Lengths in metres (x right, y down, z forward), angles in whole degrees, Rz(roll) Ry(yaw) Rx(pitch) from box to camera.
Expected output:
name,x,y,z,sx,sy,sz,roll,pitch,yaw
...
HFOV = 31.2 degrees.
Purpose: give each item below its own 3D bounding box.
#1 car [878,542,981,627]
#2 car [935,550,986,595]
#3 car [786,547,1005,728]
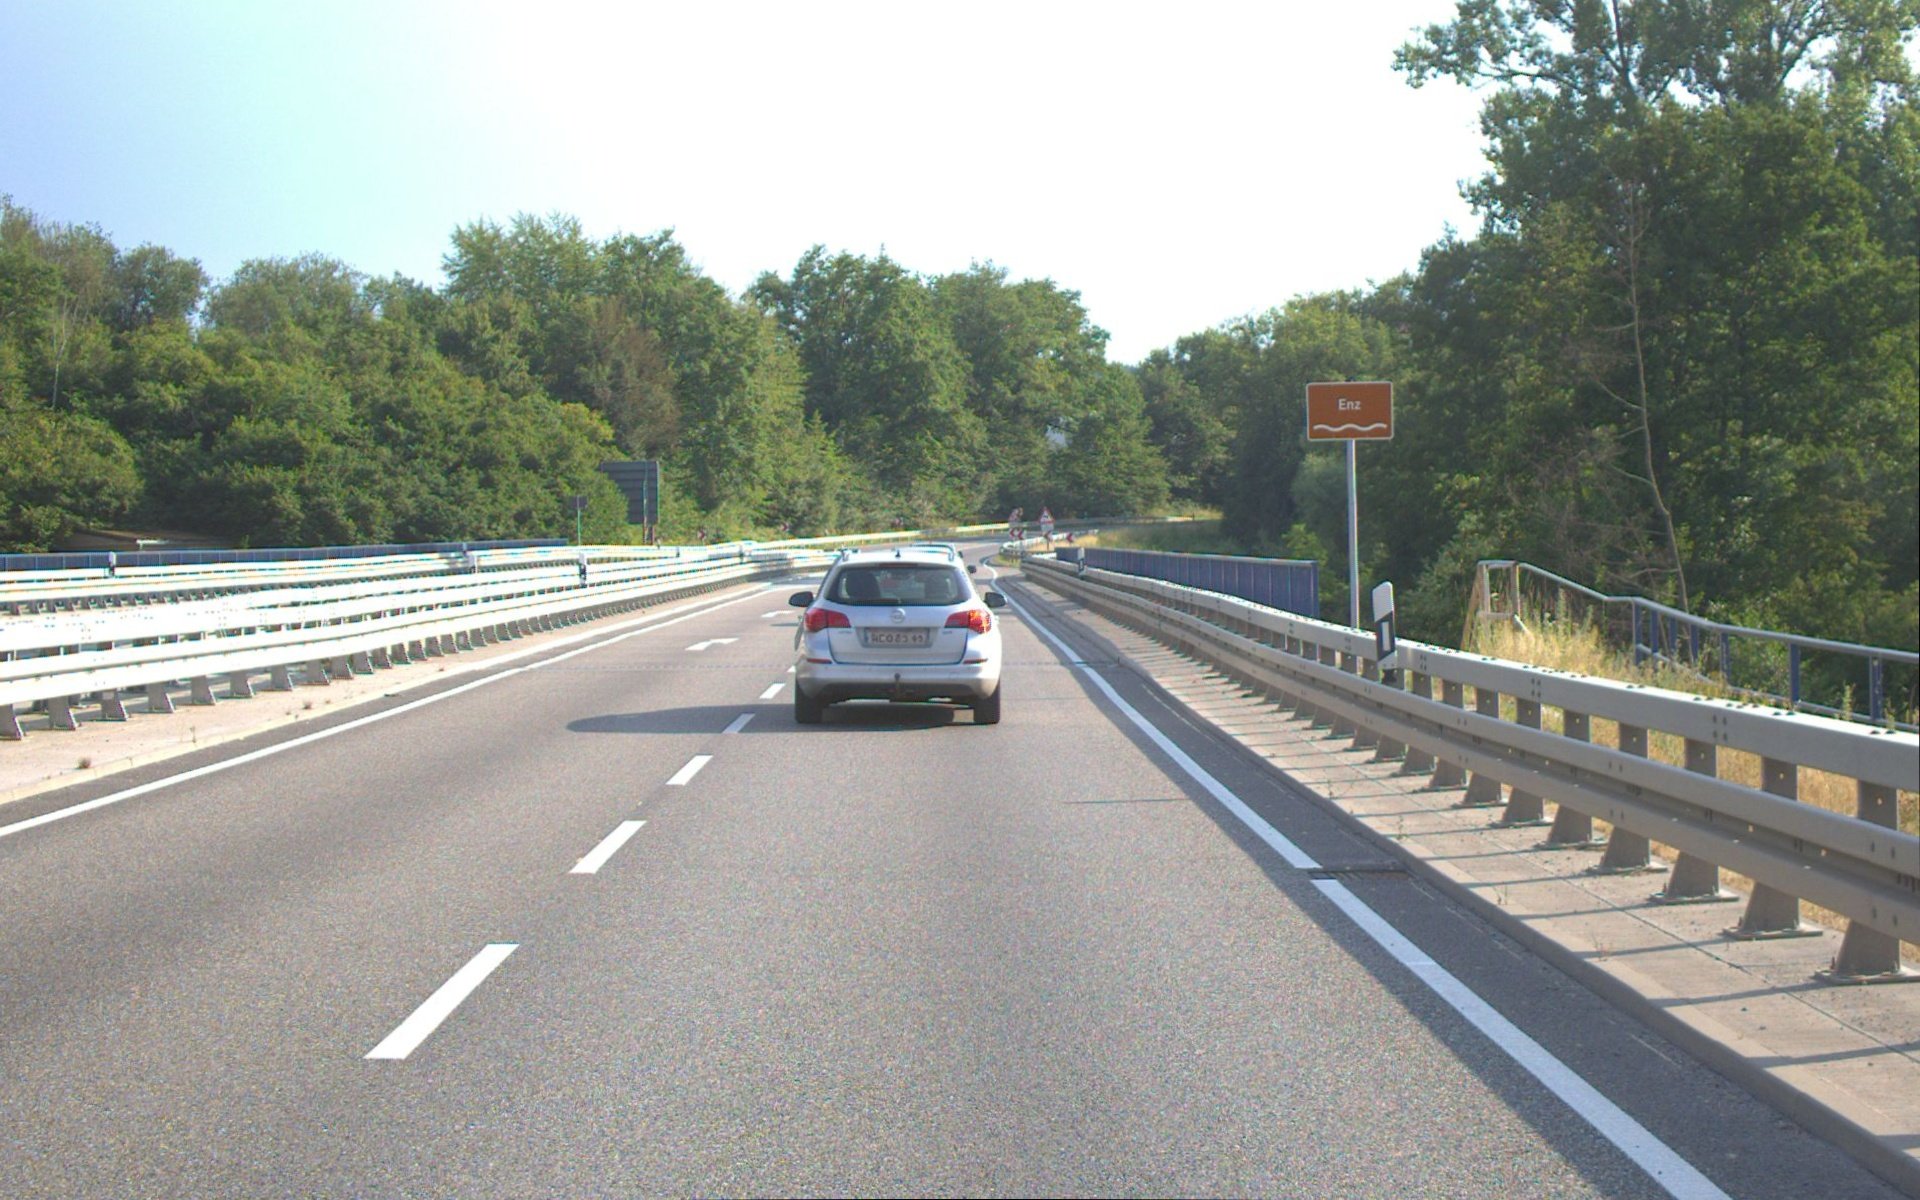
name,x,y,z,sx,sy,sz,roll,pitch,yaw
car,-0.573,-0.271,63.014,1.809,1.481,4.000,1,0,-1
car,0.019,-1.257,157.834,1.993,2.007,4.000,1,0,-4
car,-0.570,0.324,30.679,1.809,1.481,4.000,1,0,-1
